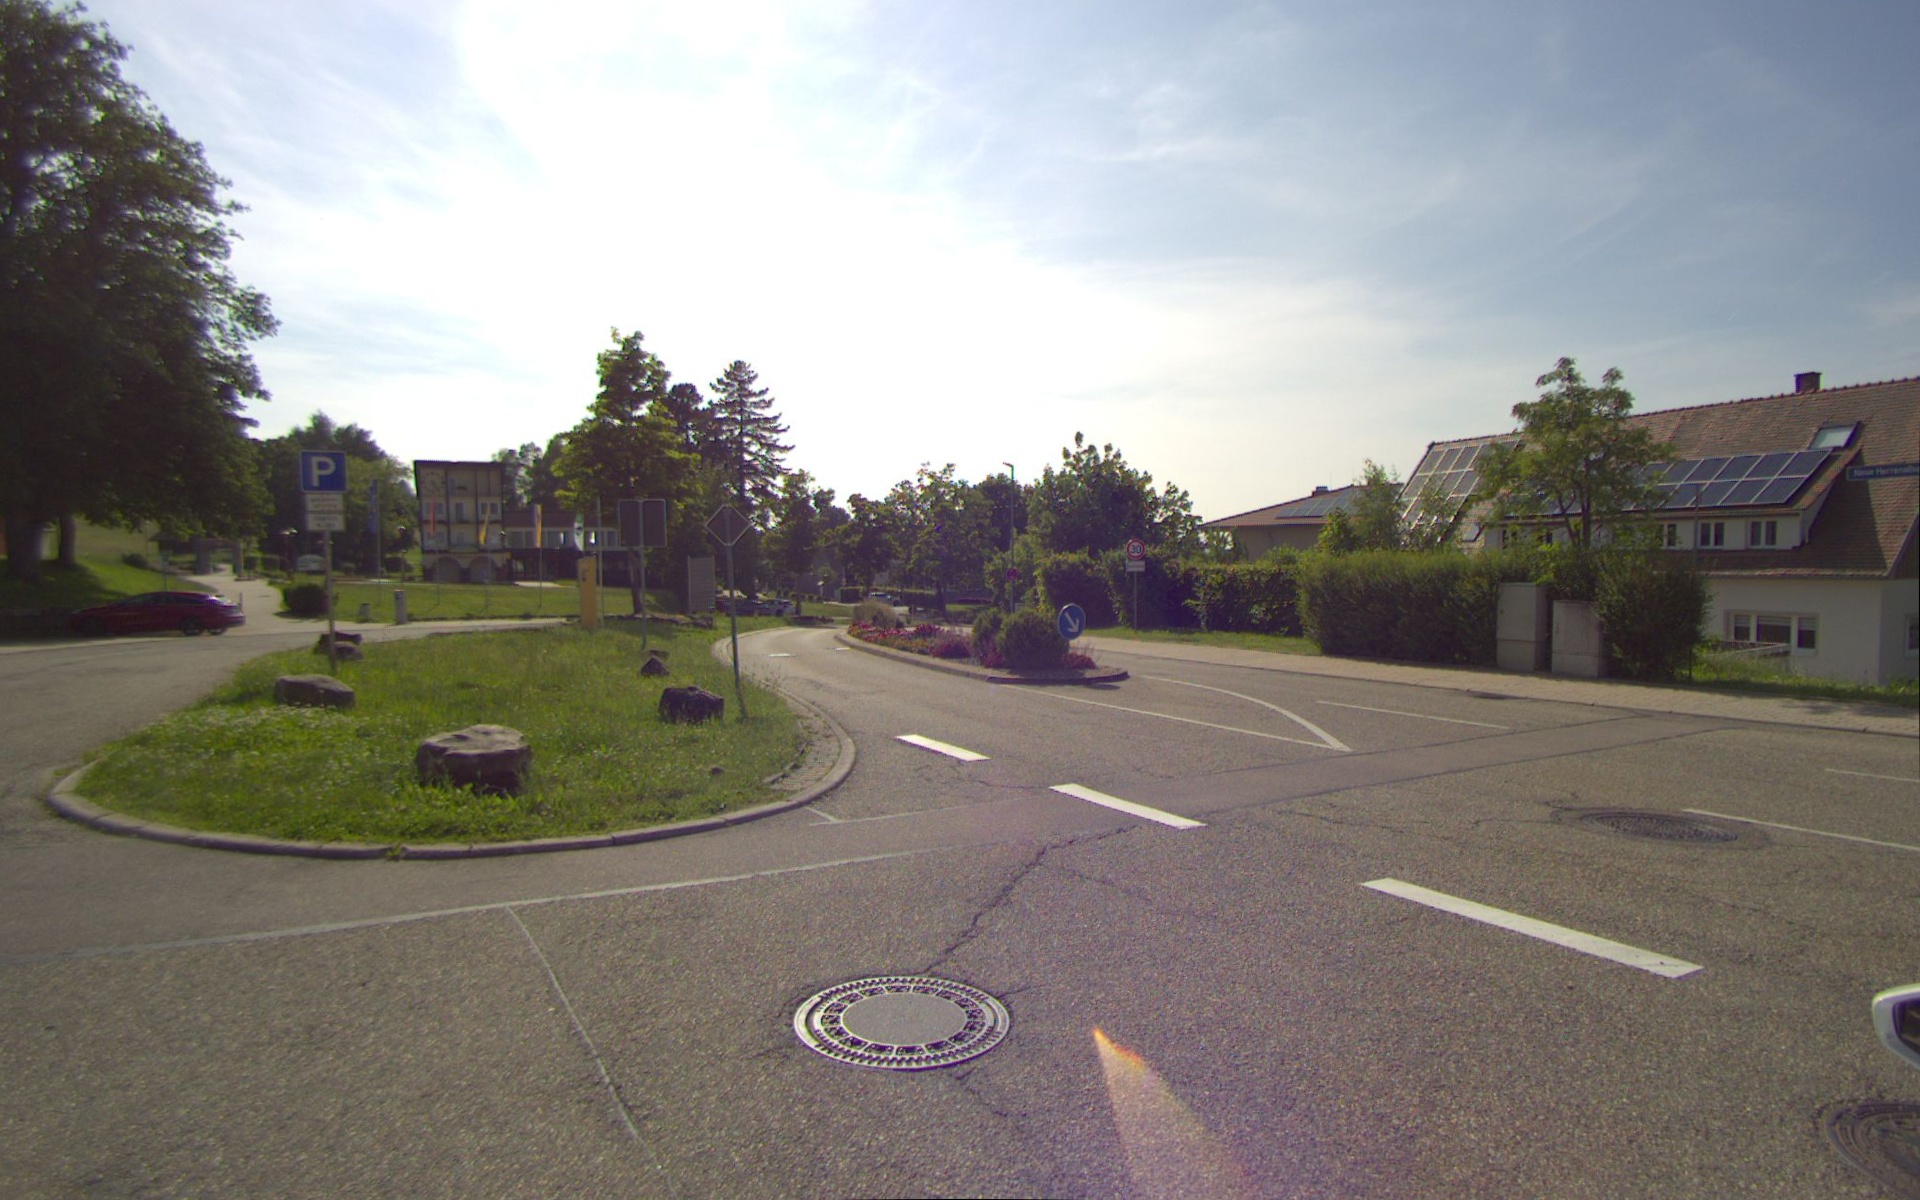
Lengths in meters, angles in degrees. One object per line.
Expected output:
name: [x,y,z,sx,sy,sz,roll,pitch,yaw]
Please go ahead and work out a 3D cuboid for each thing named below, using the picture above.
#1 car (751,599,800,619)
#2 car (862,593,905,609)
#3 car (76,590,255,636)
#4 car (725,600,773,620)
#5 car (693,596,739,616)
car: [-16.178,0.805,87.926,3.866,1.630,1.775,2,0,25]
car: [-9.143,0.096,120.111,4.678,1.555,1.982,-1,6,-33]
car: [-25.746,0.429,32.697,4.166,1.417,1.819,1,0,-14]
car: [-17.676,0.838,84.141,3.643,1.452,1.775,2,0,25]
car: [-19.743,0.473,81.247,3.146,1.490,1.775,2,0,23]
